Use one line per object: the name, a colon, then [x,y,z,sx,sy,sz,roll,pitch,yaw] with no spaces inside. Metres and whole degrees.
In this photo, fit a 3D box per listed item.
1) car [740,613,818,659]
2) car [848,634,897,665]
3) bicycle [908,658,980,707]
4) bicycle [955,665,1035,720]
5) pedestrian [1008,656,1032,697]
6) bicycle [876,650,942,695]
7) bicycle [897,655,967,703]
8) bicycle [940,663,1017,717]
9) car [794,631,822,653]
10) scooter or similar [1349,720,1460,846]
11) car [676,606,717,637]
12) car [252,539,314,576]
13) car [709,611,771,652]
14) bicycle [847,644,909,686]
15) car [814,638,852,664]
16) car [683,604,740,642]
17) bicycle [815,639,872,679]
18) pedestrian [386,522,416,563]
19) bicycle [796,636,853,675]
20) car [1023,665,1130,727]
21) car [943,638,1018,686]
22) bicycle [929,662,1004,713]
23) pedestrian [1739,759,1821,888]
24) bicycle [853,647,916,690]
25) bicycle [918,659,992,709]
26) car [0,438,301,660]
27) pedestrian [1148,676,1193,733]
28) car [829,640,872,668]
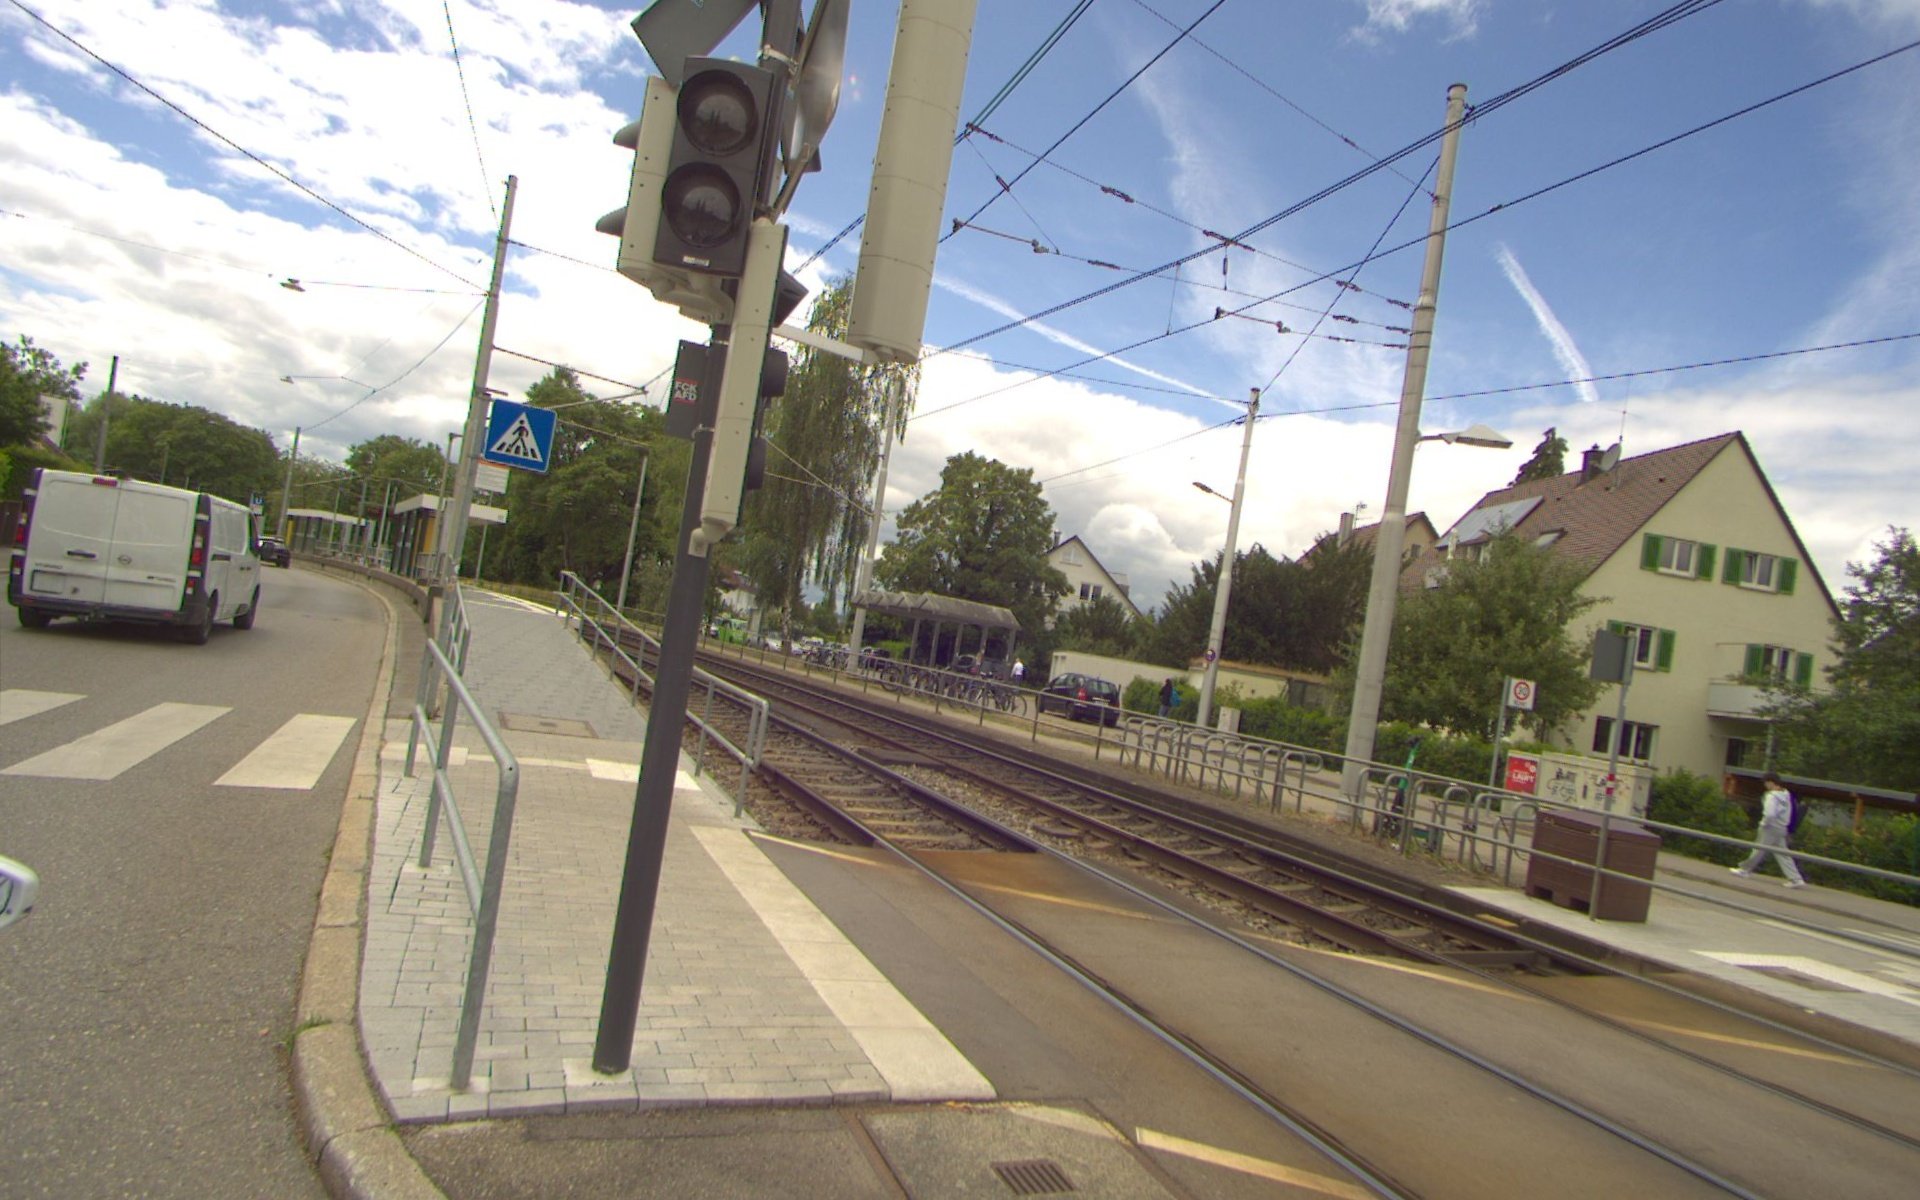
car: [-8.652,1.688,47.796,2.051,1.591,4.226,11,-3,-31]
car: [-5.505,3.058,62.923,1.738,1.504,4.913,9,-4,-19]
bicycle: [-0.431,2.234,27.318,1.751,1.053,0.554,11,-3,-26]
bicycle: [0.856,2.252,24.414,1.751,1.053,0.554,11,-3,-26]
pedestrian: [2.767,3.509,46.140,0.812,1.790,0.685,8,-2,8]
bicycle: [-1.495,2.135,29.545,1.751,1.053,0.554,11,-3,-26]
bicycle: [-0.778,2.218,28.145,1.751,1.053,0.554,11,-3,-26]
bicycle: [0.471,2.260,25.226,1.751,1.053,0.554,11,-3,-26]
car: [-13.856,3.822,91.704,1.795,1.653,4.231,10,-3,-16]
scooter or similar: [5.326,2.192,12.047,1.038,1.331,0.487,9,-1,-24]
car: [-16.060,1.281,61.195,1.822,1.504,4.483,10,-3,-20]
car: [-39.089,-2.478,58.037,2.350,1.580,4.325,13,-5,-40]
car: [-11.372,1.591,51.779,1.720,1.591,3.968,10,-3,-31]
bicycle: [-2.596,2.048,31.778,1.751,1.053,0.554,11,-3,-26]
car: [-9.328,3.718,73.739,1.739,1.504,3.885,9,-4,-21]
car: [-13.906,1.264,56.061,1.746,1.591,4.067,10,-3,-31]
bicycle: [-3.931,1.992,33.953,1.757,1.053,0.552,11,-3,-35]
pedestrian: [-25.118,-2.567,45.214,0.882,1.689,0.901,10,-2,-35]
bicycle: [-4.622,1.897,34.402,1.758,1.053,0.551,11,-3,-36]
car: [3.983,3.305,35.171,1.797,1.502,4.405,10,-3,-19]
car: [0.853,2.746,45.134,1.795,1.653,4.826,10,-3,-16]
bicycle: [0.168,2.253,25.874,1.751,1.053,0.554,11,-3,-26]
pedestrian: [13.656,3.688,16.759,0.819,1.936,0.623,9,-1,41]
bicycle: [-2.335,2.111,31.164,1.751,1.053,0.554,11,-3,-26]
bicycle: [-0.126,2.222,26.678,1.751,1.053,0.554,11,-3,-26]
car: [-10.984,-0.598,14.040,2.102,2.156,5.406,11,-4,-27]
pedestrian: [6.973,3.455,33.341,0.803,1.704,0.941,10,-2,-32]
car: [-7.477,3.624,68.435,1.738,1.504,4.682,9,-4,-19]
